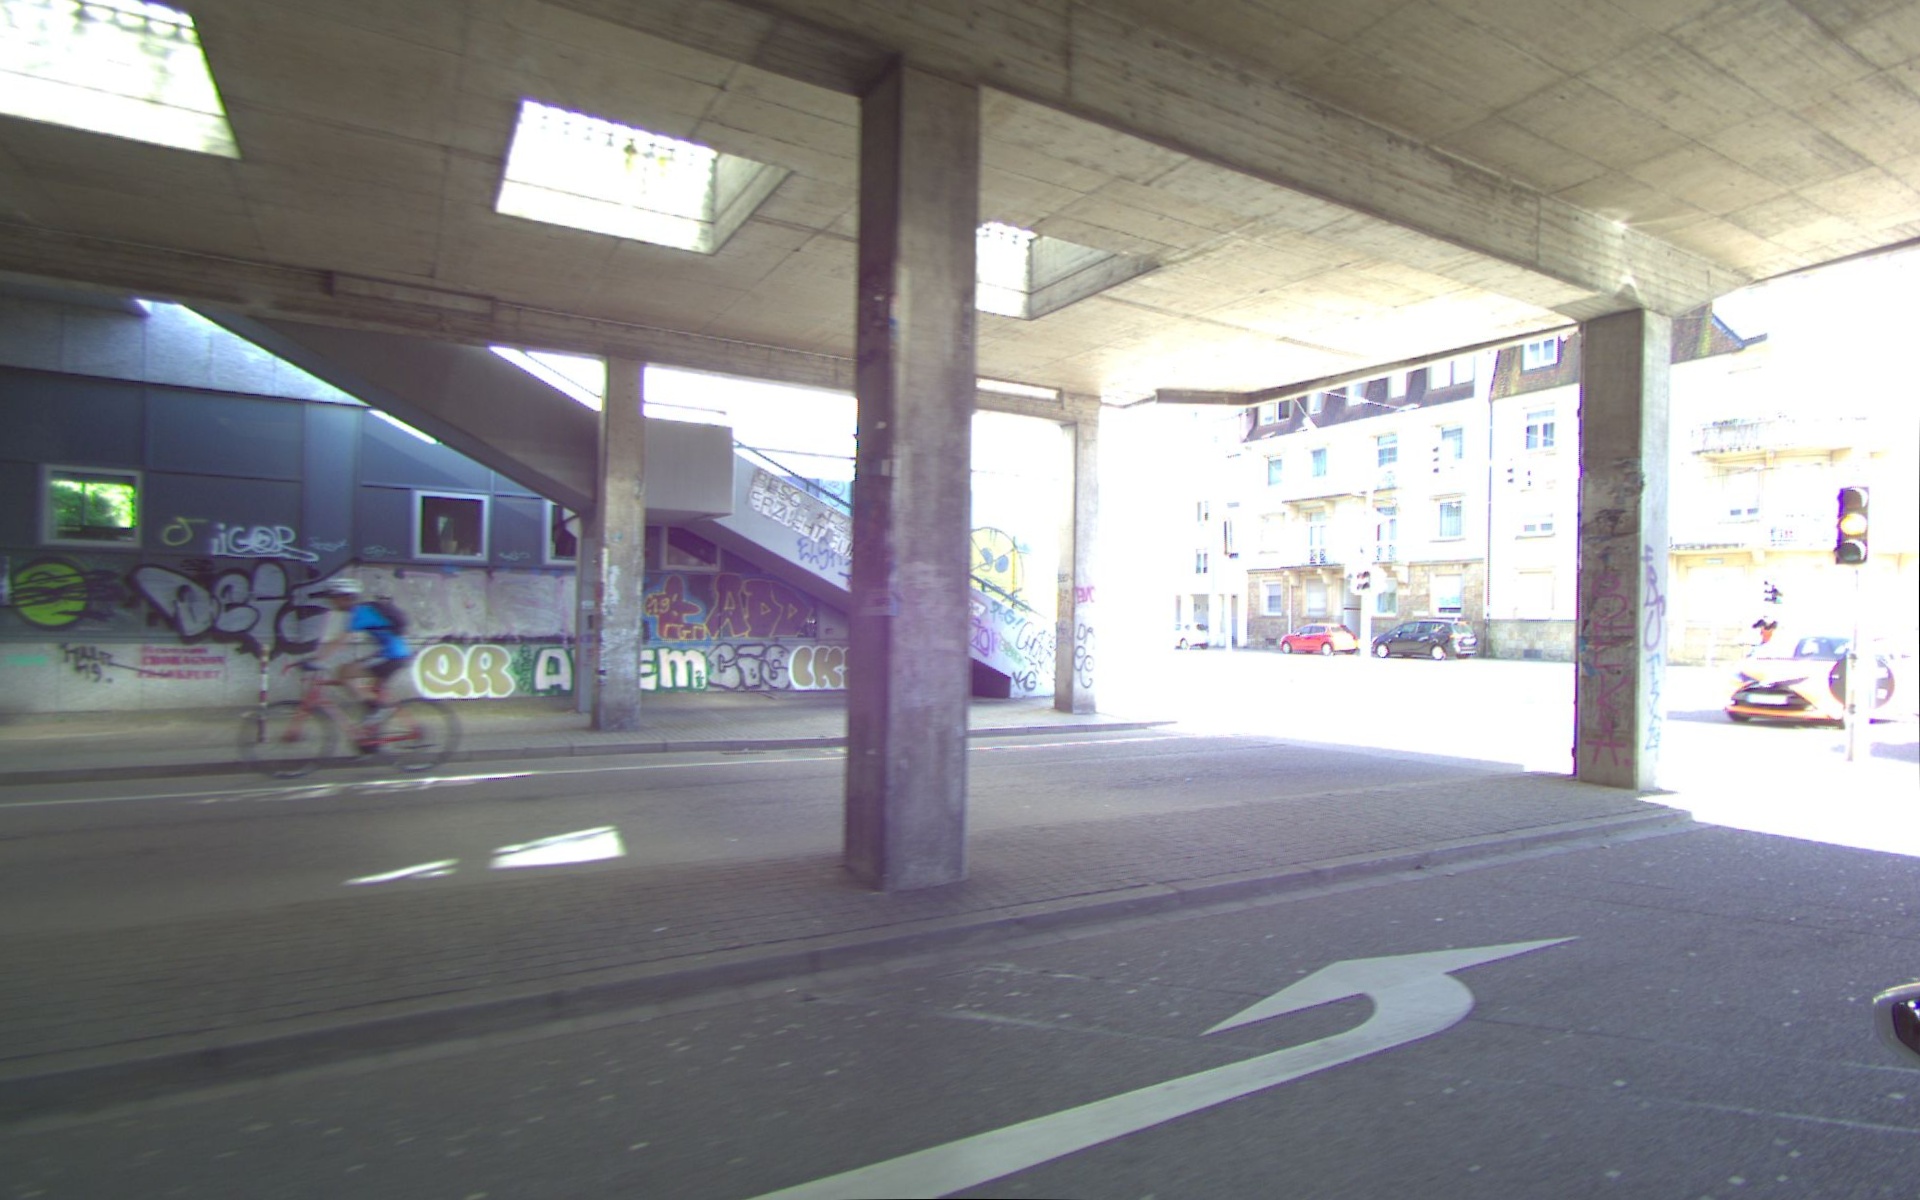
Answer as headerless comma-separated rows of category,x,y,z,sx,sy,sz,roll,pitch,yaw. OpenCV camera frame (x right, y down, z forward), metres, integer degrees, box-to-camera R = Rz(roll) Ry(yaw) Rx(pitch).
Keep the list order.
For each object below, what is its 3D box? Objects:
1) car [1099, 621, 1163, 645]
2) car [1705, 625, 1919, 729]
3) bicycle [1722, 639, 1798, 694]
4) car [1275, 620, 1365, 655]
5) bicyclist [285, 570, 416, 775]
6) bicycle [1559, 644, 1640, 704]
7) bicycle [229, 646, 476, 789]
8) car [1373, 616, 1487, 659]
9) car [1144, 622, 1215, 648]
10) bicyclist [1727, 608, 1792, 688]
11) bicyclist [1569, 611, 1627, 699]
car,10.282,1.964,60.566,1.939,1.381,3.815,0,-1,-27
car,13.632,1.153,15.792,3.415,1.460,1.653,1,-1,-25
bicycle,17.467,1.431,21.925,2.032,1.138,0.539,1,-1,-28
car,17.212,1.744,48.168,1.875,1.561,3.863,0,-1,-28
bicyclist,-5.471,0.618,9.064,0.956,1.734,0.742,-1,0,-31
bicycle,12.307,1.404,19.329,1.838,1.105,0.523,1,-1,-30
bicycle,-5.441,1.010,9.109,1.838,1.105,0.695,-1,0,-31
car,20.072,1.550,43.062,1.938,1.747,4.144,0,-1,-28
car,12.350,1.932,56.663,1.974,1.381,3.815,0,-1,-27
bicyclist,17.436,1.033,21.915,1.018,1.682,0.779,1,-1,-28
bicyclist,12.259,1.039,19.293,0.899,1.654,0.603,1,-1,-30
